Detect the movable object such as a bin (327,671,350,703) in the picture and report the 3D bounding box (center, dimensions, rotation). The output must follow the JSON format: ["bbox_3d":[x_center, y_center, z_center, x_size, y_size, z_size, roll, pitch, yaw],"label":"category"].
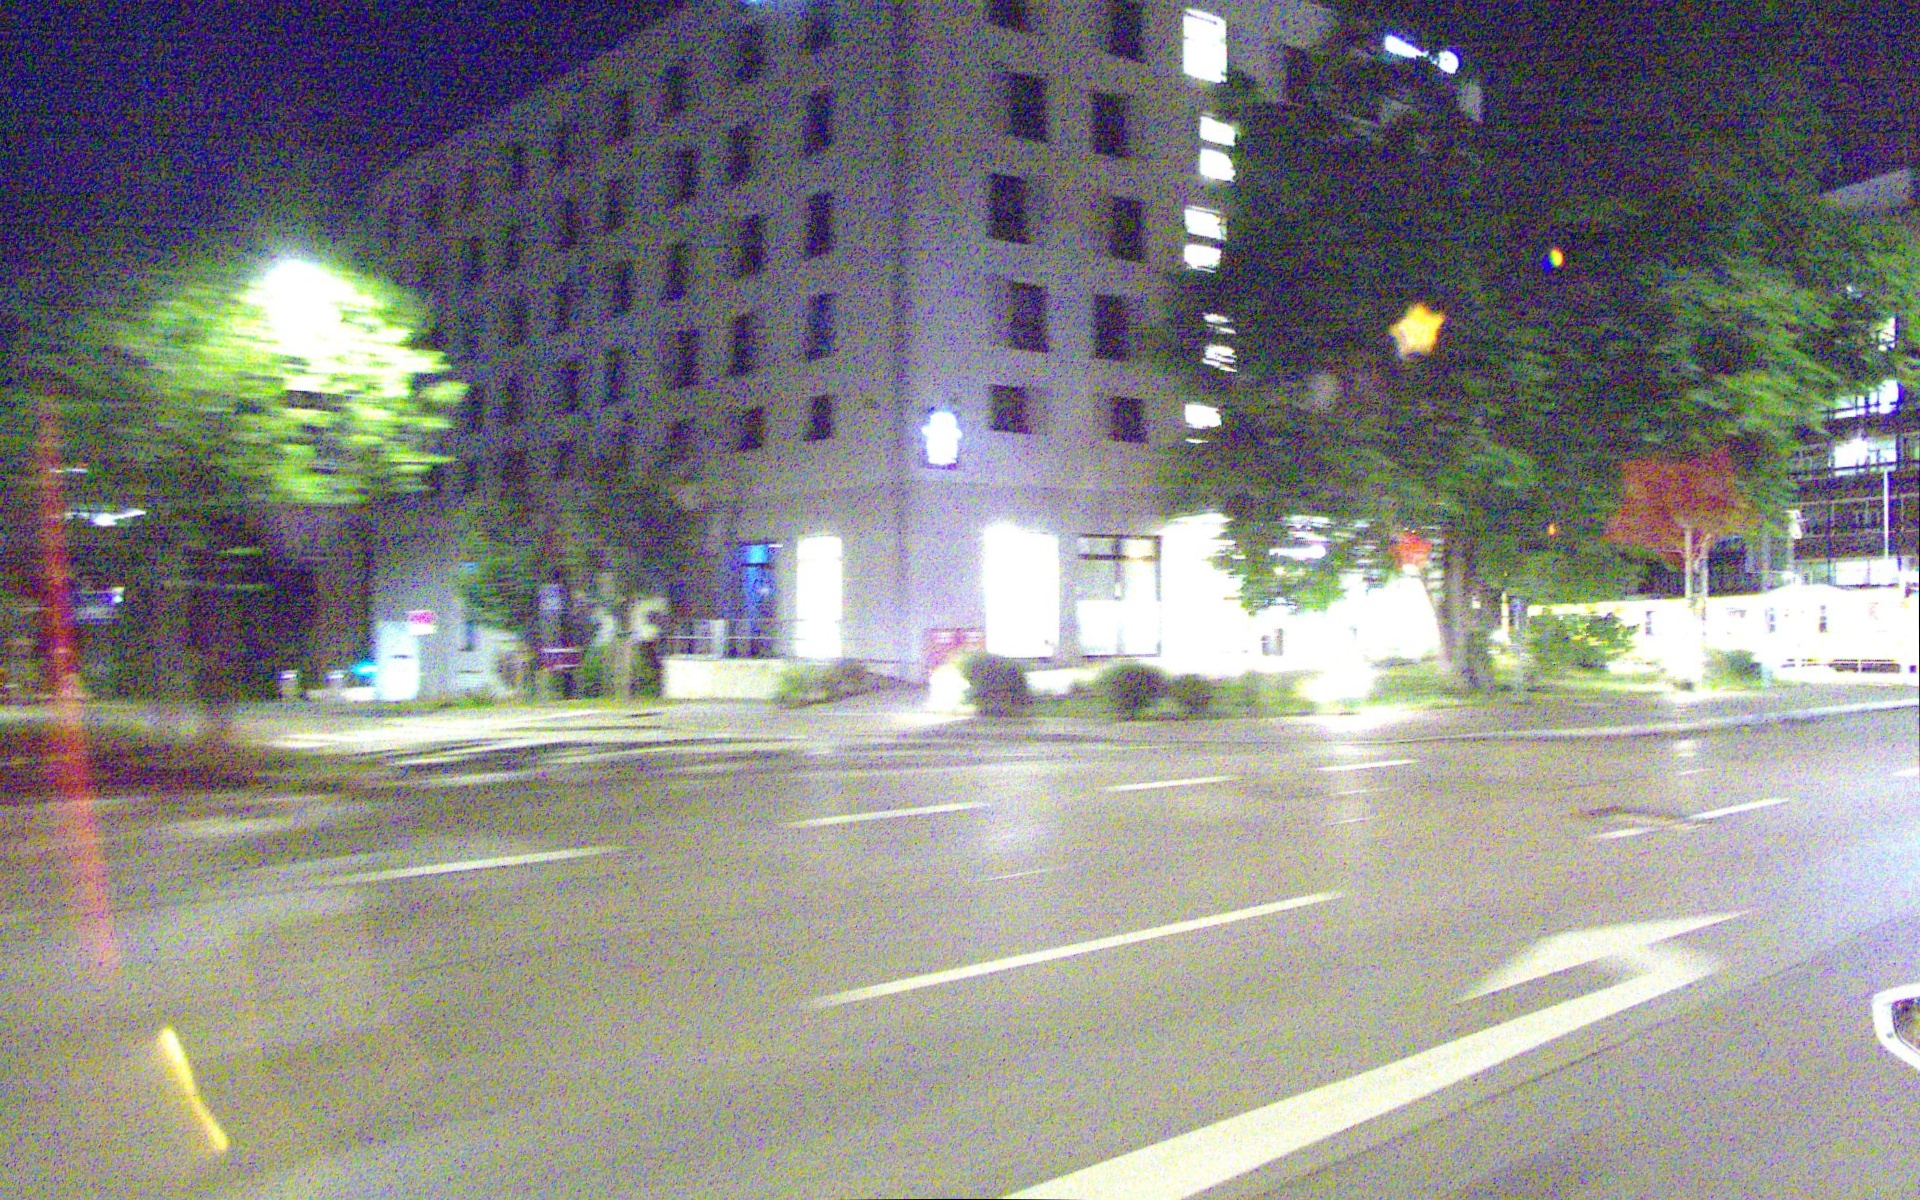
[{"bbox_3d":[-26.383,3.694,42.611,0.608,1.324,0.569,-3,-3,21],"label":"movable object such as a bin"}]

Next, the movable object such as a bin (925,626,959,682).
[{"bbox_3d":[-0.458,1.385,26.005,0.723,1.388,0.354,-3,-1,-30],"label":"movable object such as a bin"}]

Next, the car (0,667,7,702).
[{"bbox_3d":[-52.771,4.516,53.543,3.932,1.860,1.995,-2,-4,33],"label":"car"}]

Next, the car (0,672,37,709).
[{"bbox_3d":[-48.163,4.536,50.346,3.931,1.663,1.874,-1,-2,33],"label":"car"}]

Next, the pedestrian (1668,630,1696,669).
[{"bbox_3d":[32.751,2.251,45.553,0.651,1.760,0.761,0,-3,-30],"label":"pedestrian"}]

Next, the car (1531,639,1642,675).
[{"bbox_3d":[27.619,2.497,44.401,1.882,1.499,3.755,1,-3,-23],"label":"car"}]

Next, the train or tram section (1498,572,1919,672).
[{"bbox_3d":[35.519,1.244,47.794,2.900,3.912,19.744,1,-3,-24],"label":"train or tram section"}]

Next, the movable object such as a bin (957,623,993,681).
[{"bbox_3d":[0.384,1.351,26.299,0.798,1.471,0.439,-1,-2,-27],"label":"movable object such as a bin"}]
